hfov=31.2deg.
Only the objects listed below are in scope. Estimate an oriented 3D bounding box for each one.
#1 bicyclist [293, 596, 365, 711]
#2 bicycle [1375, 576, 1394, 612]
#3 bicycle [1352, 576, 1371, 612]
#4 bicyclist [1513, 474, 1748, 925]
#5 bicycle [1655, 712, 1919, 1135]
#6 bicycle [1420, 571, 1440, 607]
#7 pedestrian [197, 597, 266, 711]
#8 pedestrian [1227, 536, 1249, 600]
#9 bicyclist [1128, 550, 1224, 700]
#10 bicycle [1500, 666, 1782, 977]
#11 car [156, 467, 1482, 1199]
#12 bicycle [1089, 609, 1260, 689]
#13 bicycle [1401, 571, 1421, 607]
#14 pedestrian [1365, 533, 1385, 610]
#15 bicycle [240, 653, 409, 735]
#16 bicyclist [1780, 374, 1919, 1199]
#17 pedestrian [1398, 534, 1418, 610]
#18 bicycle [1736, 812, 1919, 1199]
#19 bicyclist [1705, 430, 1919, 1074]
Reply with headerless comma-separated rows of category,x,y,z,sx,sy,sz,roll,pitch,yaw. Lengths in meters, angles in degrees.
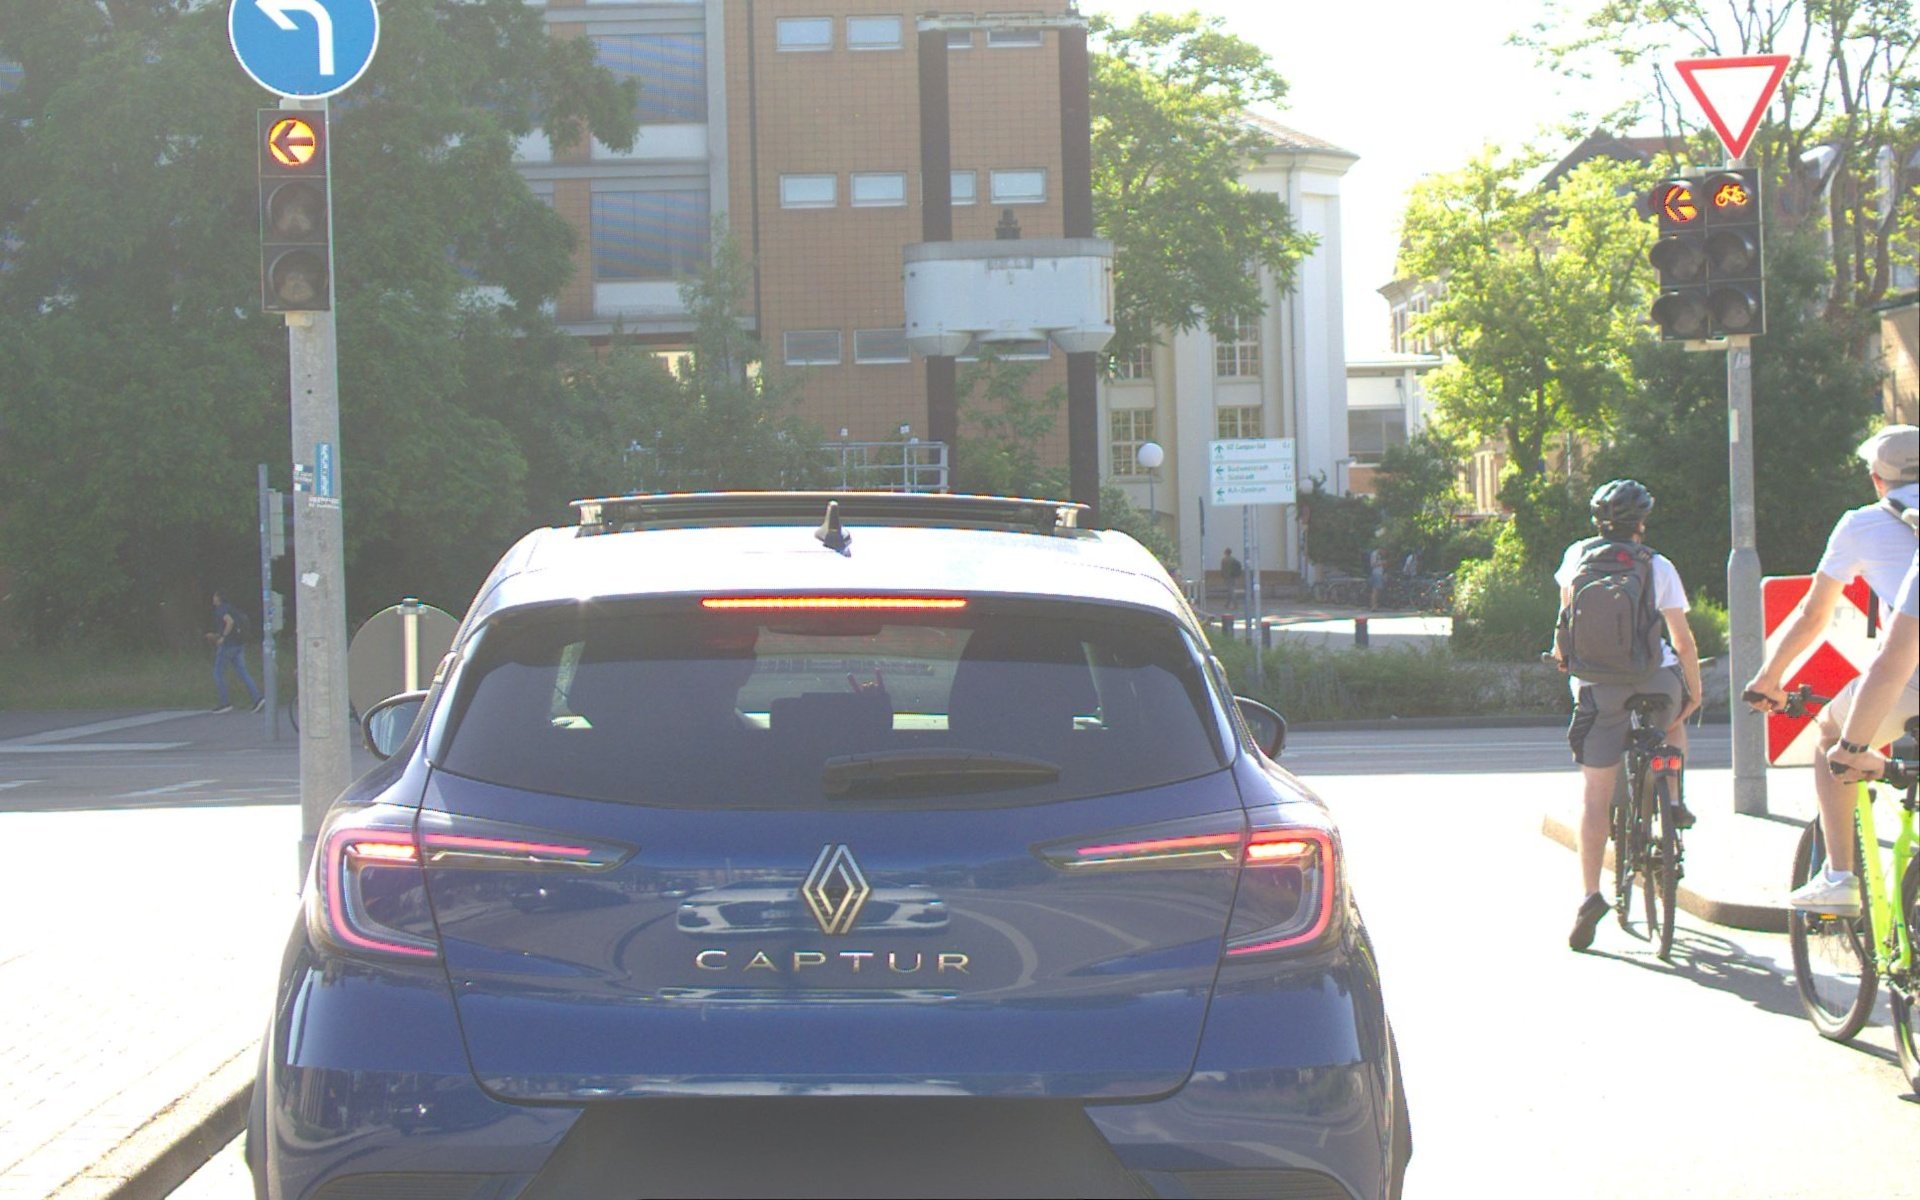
bicyclist,-8.034,0.674,43.787,0.737,1.436,0.598,-2,1,-27
bicycle,11.611,-0.171,94.037,0.405,0.969,1.683,1,1,4
bicycle,10.989,-0.180,94.080,0.405,0.969,1.683,1,1,4
bicyclist,2.508,0.355,12.945,0.726,1.623,0.969,1,0,4
bicycle,2.612,0.866,9.821,0.659,0.999,1.970,1,1,-6
bicycle,12.915,-0.300,94.416,0.405,0.969,1.683,1,1,4
pedestrian,-10.333,0.765,48.781,0.737,1.598,0.598,-1,1,12
pedestrian,8.146,-0.936,100.734,0.623,1.849,0.563,-1,1,4
bicyclist,2.742,0.311,43.613,1.102,1.861,0.652,-1,1,10
bicycle,2.510,0.781,12.901,0.739,0.992,2.173,1,1,3
car,-0.268,0.614,6.696,1.803,1.626,4.000,0,1,-2
bicycle,2.730,0.624,43.703,2.082,0.927,0.696,-2,2,10
bicycle,12.379,-0.307,94.403,0.405,0.969,1.683,1,1,4
pedestrian,10.979,-0.754,91.043,0.475,2.007,0.523,-1,1,6
bicycle,-8.082,1.187,43.769,2.005,0.961,0.598,-2,1,-27
bicyclist,2.232,0.389,7.245,0.751,1.663,1.016,1,0,1
pedestrian,12.036,-0.752,92.394,0.475,2.007,0.468,-1,1,6
bicycle,2.228,0.969,7.256,0.740,0.893,1.978,1,1,1
bicyclist,2.623,0.407,9.810,0.645,1.733,1.067,1,0,-6
